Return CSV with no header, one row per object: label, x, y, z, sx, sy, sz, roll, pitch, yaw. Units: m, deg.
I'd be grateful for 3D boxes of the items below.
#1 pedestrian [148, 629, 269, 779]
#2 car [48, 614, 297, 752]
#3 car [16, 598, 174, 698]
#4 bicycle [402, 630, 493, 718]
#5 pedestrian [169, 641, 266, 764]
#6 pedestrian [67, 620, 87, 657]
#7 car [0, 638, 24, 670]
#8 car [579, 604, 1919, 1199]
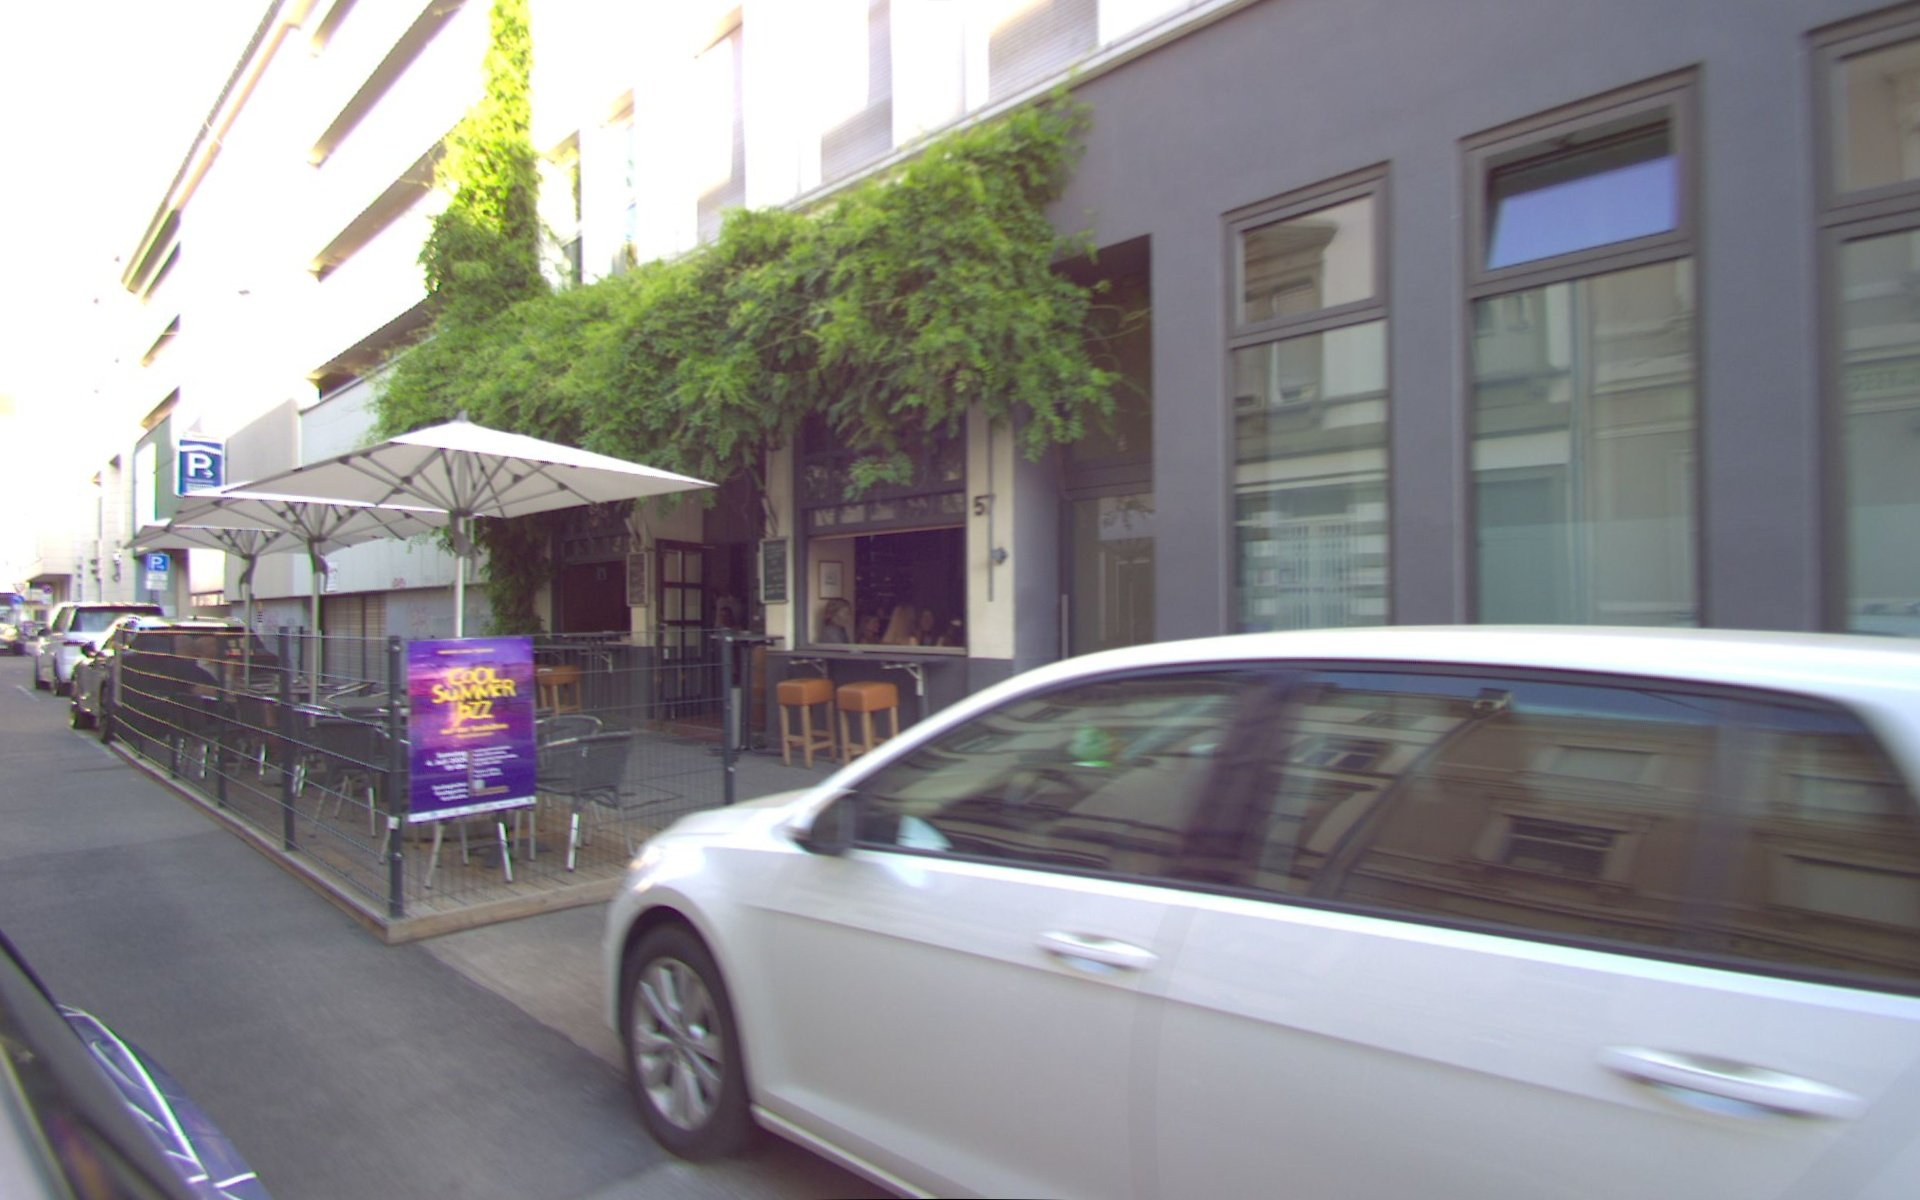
pedestrian,-6.999,0.926,9.422,0.916,1.297,0.772,-2,-2,44
car,-10.971,1.050,13.960,4.770,1.580,1.861,-2,-4,42
car,-18.988,1.022,22.127,4.849,1.955,1.972,-2,-3,42
bicycle,-7.413,1.029,14.591,0.635,1.169,1.795,0,-1,-45
pedestrian,-7.515,1.013,10.274,0.544,1.174,0.743,0,-1,-14
pedestrian,-39.565,1.713,45.340,0.565,1.638,0.611,-2,-1,44
car,-46.239,2.570,48.505,1.970,1.428,4.563,3,-2,-43
car,0.843,0.738,2.244,3.882,1.424,1.639,-1,-1,43
